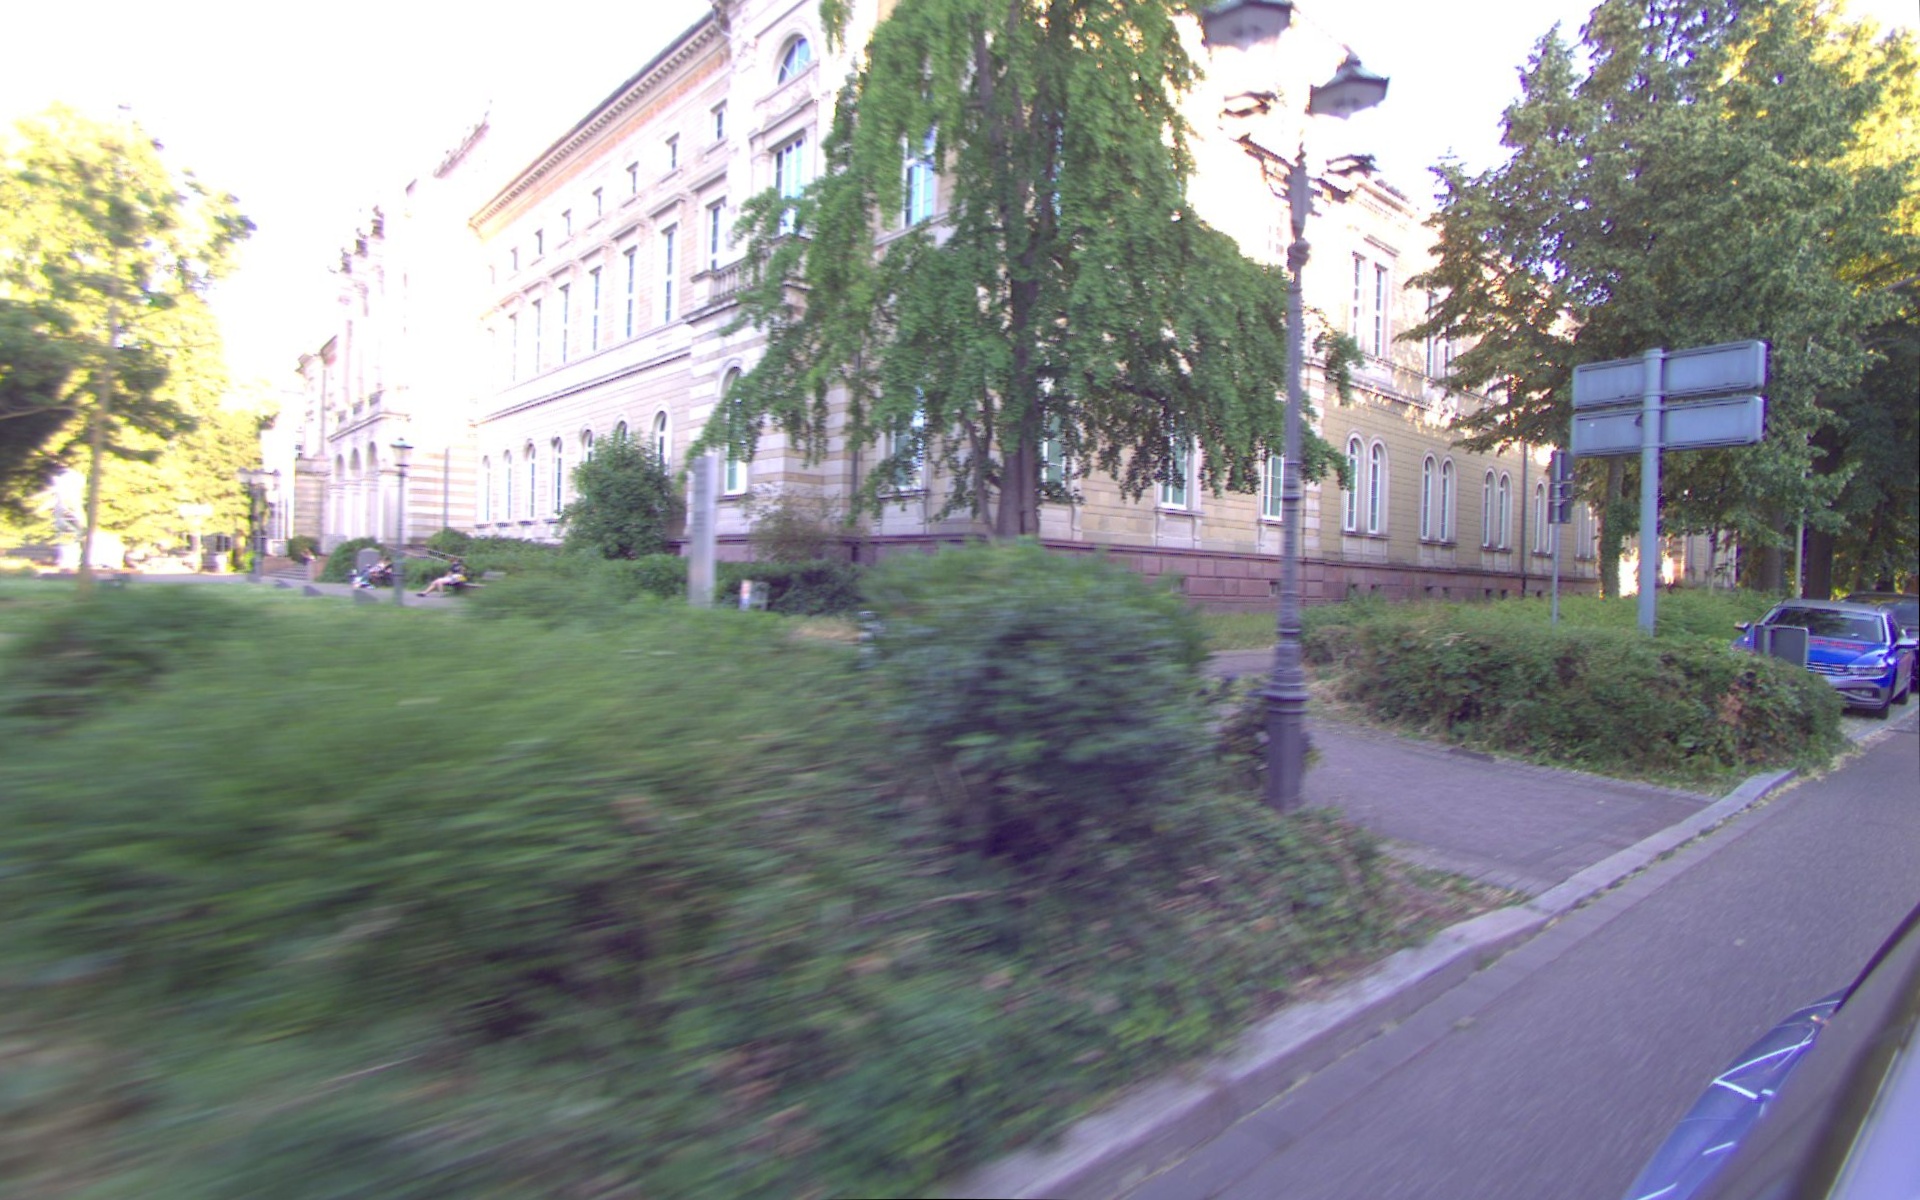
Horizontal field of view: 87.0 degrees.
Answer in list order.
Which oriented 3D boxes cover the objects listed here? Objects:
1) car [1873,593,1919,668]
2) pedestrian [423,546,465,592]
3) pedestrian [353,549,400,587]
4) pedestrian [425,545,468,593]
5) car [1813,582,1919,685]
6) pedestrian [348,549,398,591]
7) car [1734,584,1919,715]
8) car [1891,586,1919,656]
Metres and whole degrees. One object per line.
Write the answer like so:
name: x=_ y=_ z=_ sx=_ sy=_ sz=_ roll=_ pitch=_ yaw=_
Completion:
car: x=21.897 y=0.678 z=22.622 sx=4.116 sy=1.557 sz=1.727 roll=1 pitch=2 yaw=-42
pedestrian: x=-16.064 y=-0.961 z=31.510 sx=1.026 sy=1.414 sz=0.695 roll=0 pitch=2 yaw=-41
pedestrian: x=-22.106 y=-1.214 z=38.341 sx=1.427 sy=1.414 sz=0.695 roll=0 pitch=2 yaw=-41
pedestrian: x=-15.599 y=-0.951 z=30.743 sx=1.026 sy=1.414 sz=0.695 roll=0 pitch=2 yaw=-41
car: x=17.549 y=0.546 z=18.734 sx=4.627 sy=1.671 sz=1.729 roll=0 pitch=3 yaw=-38
pedestrian: x=-22.741 y=-1.164 z=39.237 sx=1.540 sy=1.575 sz=0.801 roll=0 pitch=2 yaw=-41
car: x=13.043 y=0.615 z=14.926 sx=4.532 sy=1.505 sz=1.728 roll=0 pitch=6 yaw=-43
car: x=25.431 y=0.602 z=25.898 sx=4.342 sy=1.670 sz=1.812 roll=1 pitch=6 yaw=-42
